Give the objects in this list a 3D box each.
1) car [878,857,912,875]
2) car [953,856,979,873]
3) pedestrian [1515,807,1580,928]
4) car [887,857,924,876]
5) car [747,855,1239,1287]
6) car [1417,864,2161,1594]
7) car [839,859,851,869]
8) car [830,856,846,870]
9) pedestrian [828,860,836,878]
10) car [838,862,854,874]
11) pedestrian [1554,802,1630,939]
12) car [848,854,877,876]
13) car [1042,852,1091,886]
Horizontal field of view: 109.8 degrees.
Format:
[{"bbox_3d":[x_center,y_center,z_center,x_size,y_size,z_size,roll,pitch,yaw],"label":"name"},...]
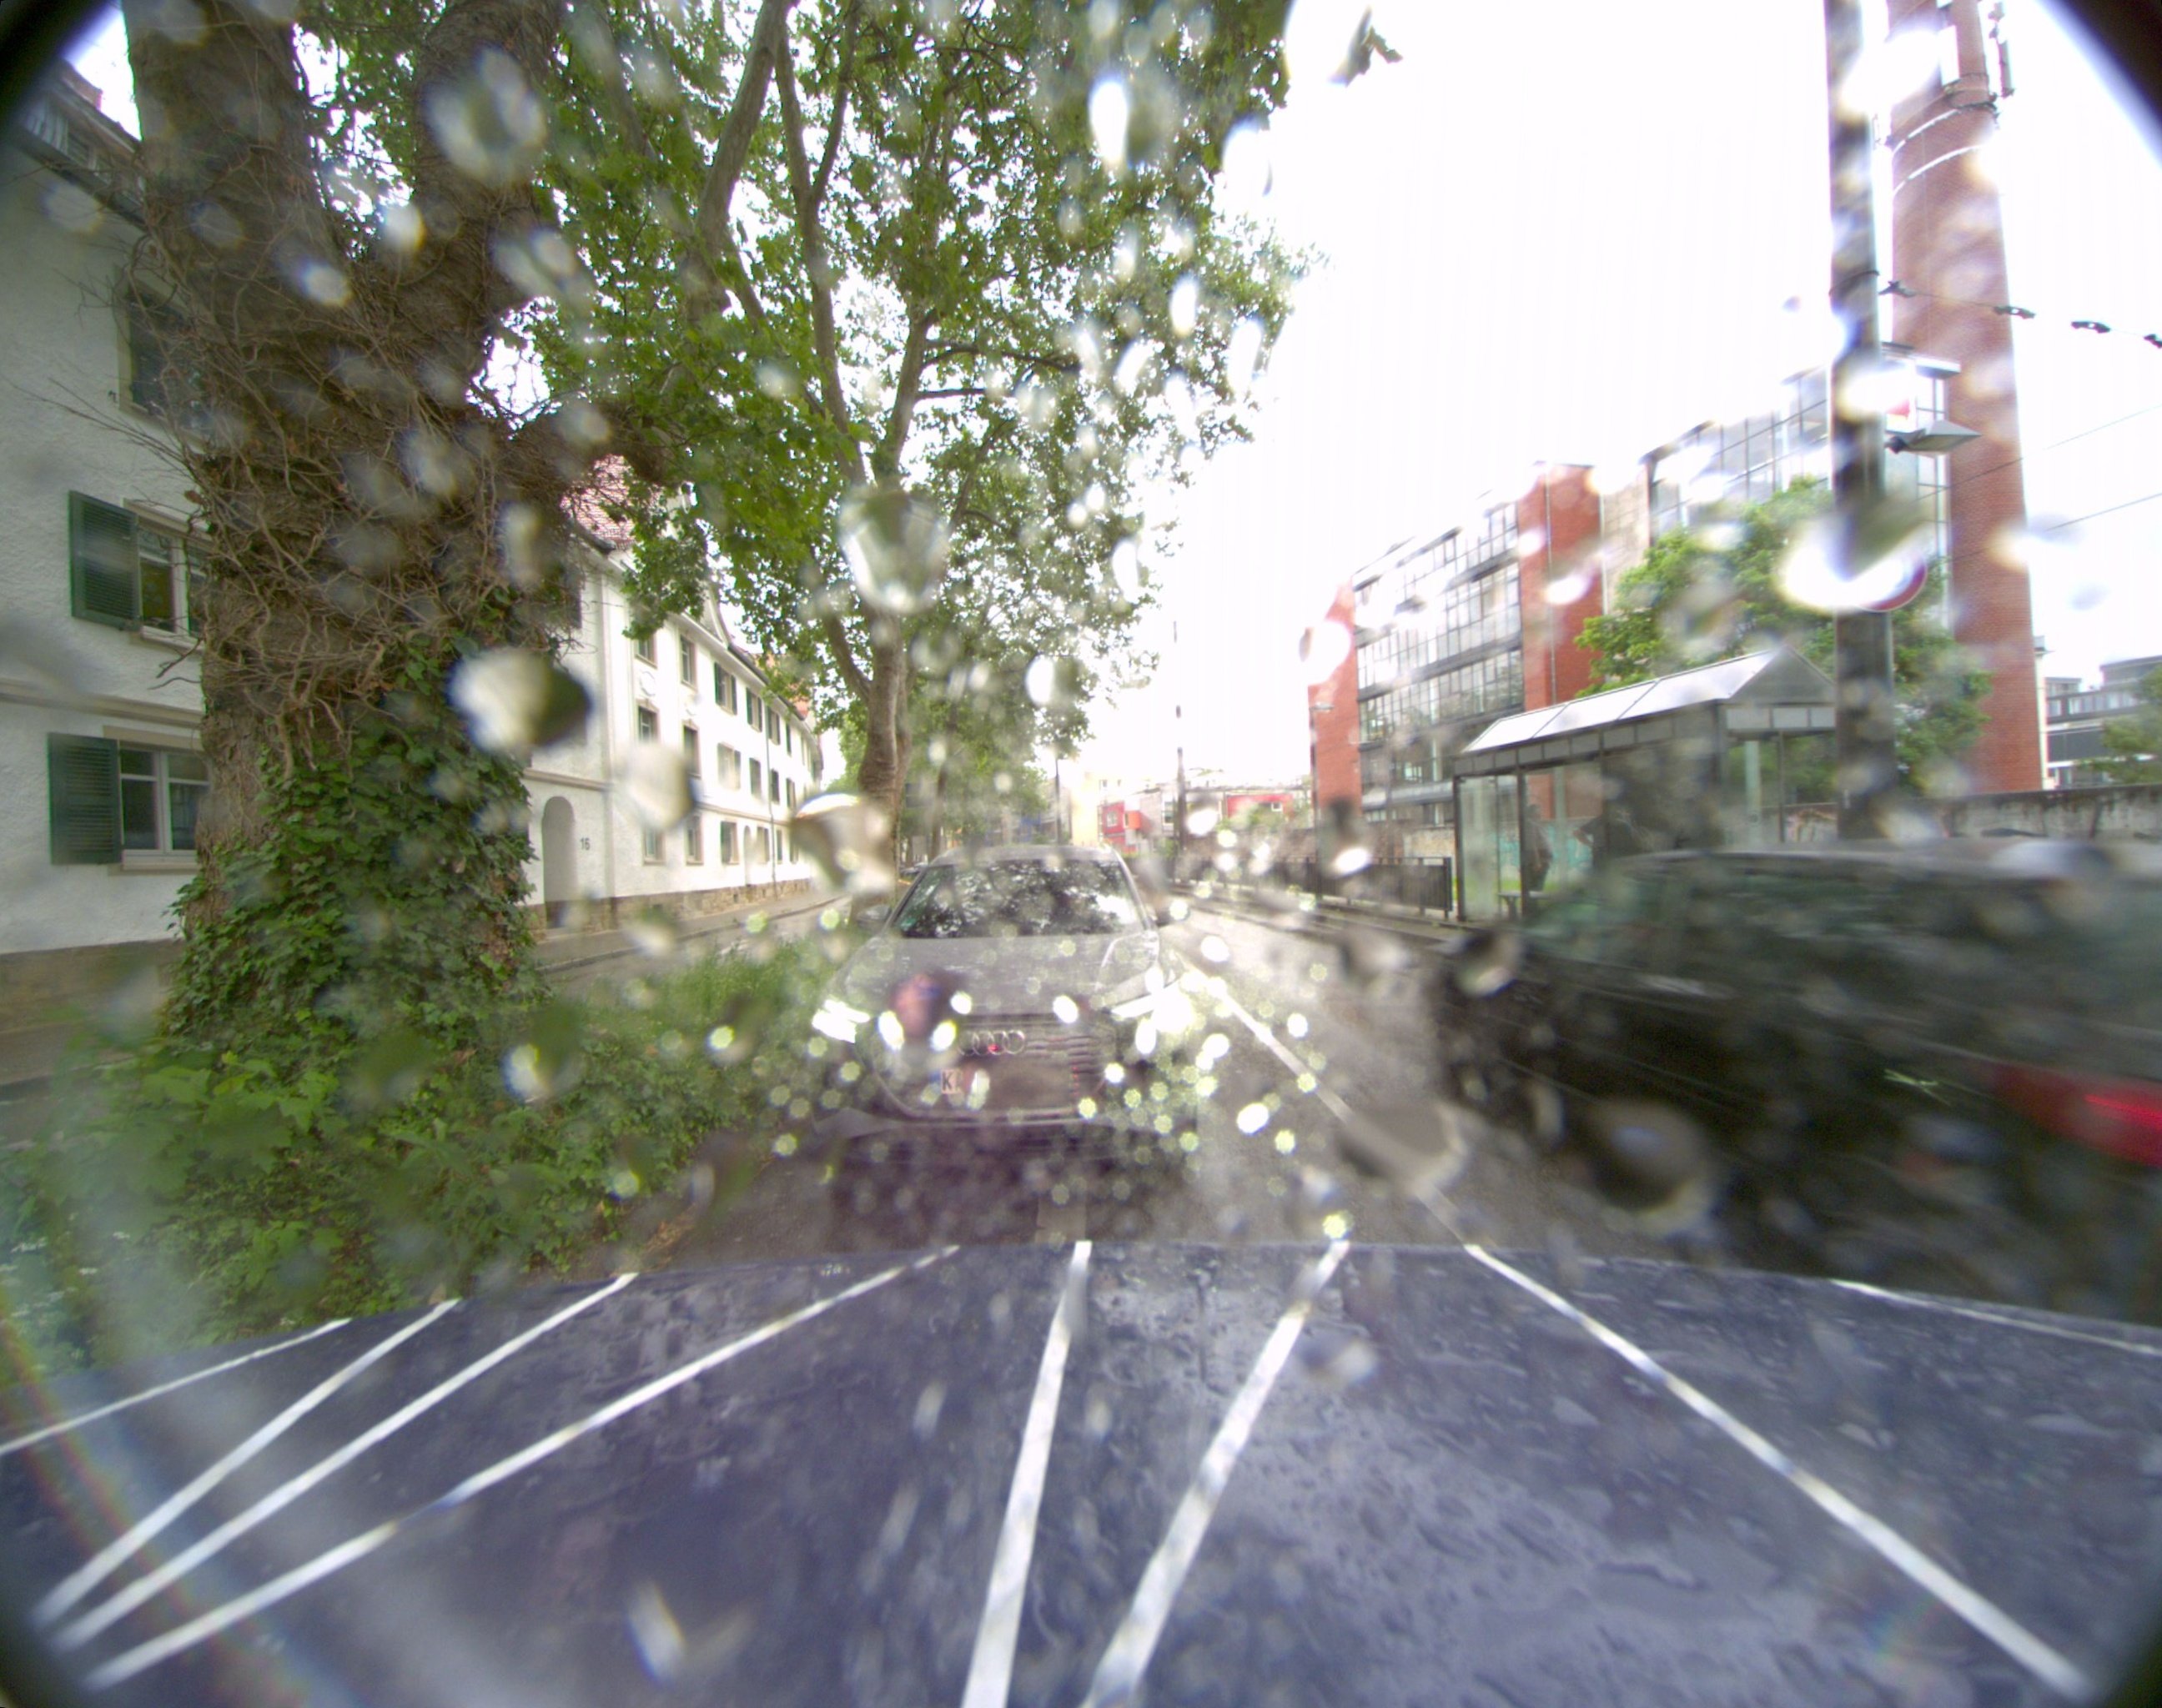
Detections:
[{"bbox_3d":[-23.203,1.497,94.659,4.002,2.002,1.997,-2,0,-17],"label":"car"},{"bbox_3d":[-11.630,1.064,76.401,1.758,1.582,4.228,-3,0,-19],"label":"car"},{"bbox_3d":[6.879,0.198,11.228,0.629,1.738,0.514,-2,1,9],"label":"pedestrian"},{"bbox_3d":[-20.231,1.463,87.564,4.002,2.002,1.997,-2,0,-17],"label":"car"},{"bbox_3d":[-0.407,0.872,5.120,1.917,1.632,4.106,-2,0,-2],"label":"car"},{"bbox_3d":[3.146,0.841,3.162,1.718,1.451,3.747,-2,1,-2],"label":"car"},{"bbox_3d":[-47.097,1.960,151.296,2.002,2.001,3.993,3,-1,-20],"label":"car"},{"bbox_3d":[-36.202,1.306,113.251,2.002,2.001,3.993,3,-1,-20],"label":"car"},{"bbox_3d":[-26.015,1.571,79.445,0.674,1.811,0.678,-3,1,-18],"label":"pedestrian"},{"bbox_3d":[-31.234,1.829,101.030,1.834,1.517,3.993,-3,1,-19],"label":"car"},{"bbox_3d":[6.740,0.217,10.044,0.629,1.738,0.564,-2,1,9],"label":"pedestrian"},{"bbox_3d":[-23.713,1.176,82.260,2.199,2.250,5.401,-3,0,-24],"label":"car"},{"bbox_3d":[-0.846,0.789,41.273,1.809,1.673,4.599,-3,0,-11],"label":"car"}]
